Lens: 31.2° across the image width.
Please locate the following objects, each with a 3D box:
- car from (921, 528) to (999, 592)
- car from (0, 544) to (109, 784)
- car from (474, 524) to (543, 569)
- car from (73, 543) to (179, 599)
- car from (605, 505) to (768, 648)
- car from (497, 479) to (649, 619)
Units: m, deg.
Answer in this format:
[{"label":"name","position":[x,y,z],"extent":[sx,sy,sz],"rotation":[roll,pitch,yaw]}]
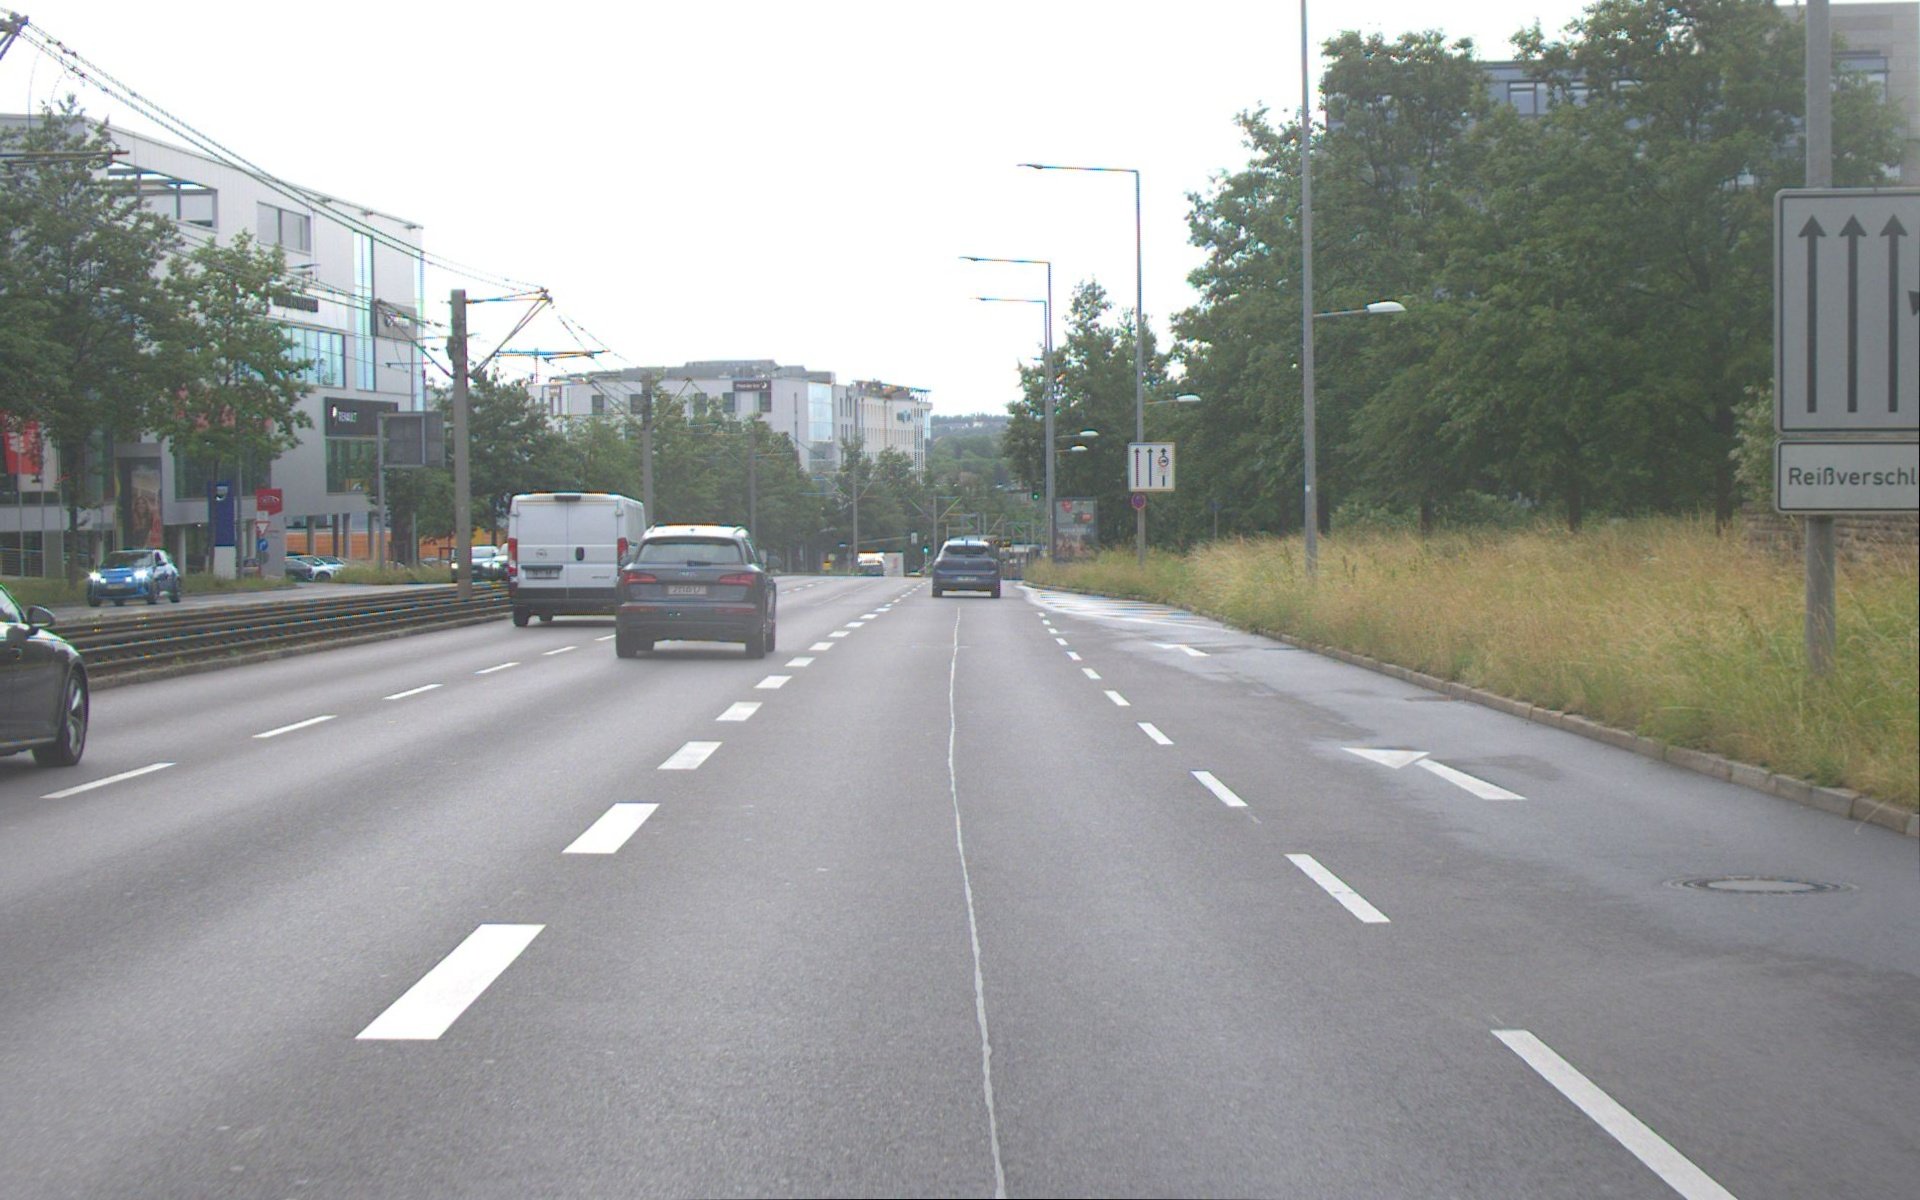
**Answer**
[{"label":"car","position":[-0.016,-1.027,89.085],"extent":[1.789,1.585,4.000],"rotation":[-1,0,-3]},{"label":"car","position":[-6.572,0.369,20.698],"extent":[1.786,1.409,4.806],"rotation":[1,1,-1]},{"label":"car","position":[-16.493,-1.952,125.719],"extent":[1.772,1.497,4.199],"rotation":[1,-1,2]},{"label":"car","position":[-22.778,-0.776,94.018],"extent":[1.841,1.449,4.024],"rotation":[1,-1,1]},{"label":"car","position":[-3.433,-0.260,43.760],"extent":[1.922,1.705,4.098],"rotation":[1,-1,-3]},{"label":"car","position":[-6.625,-0.880,59.326],"extent":[2.267,2.277,4.760],"rotation":[1,1,-3]}]
